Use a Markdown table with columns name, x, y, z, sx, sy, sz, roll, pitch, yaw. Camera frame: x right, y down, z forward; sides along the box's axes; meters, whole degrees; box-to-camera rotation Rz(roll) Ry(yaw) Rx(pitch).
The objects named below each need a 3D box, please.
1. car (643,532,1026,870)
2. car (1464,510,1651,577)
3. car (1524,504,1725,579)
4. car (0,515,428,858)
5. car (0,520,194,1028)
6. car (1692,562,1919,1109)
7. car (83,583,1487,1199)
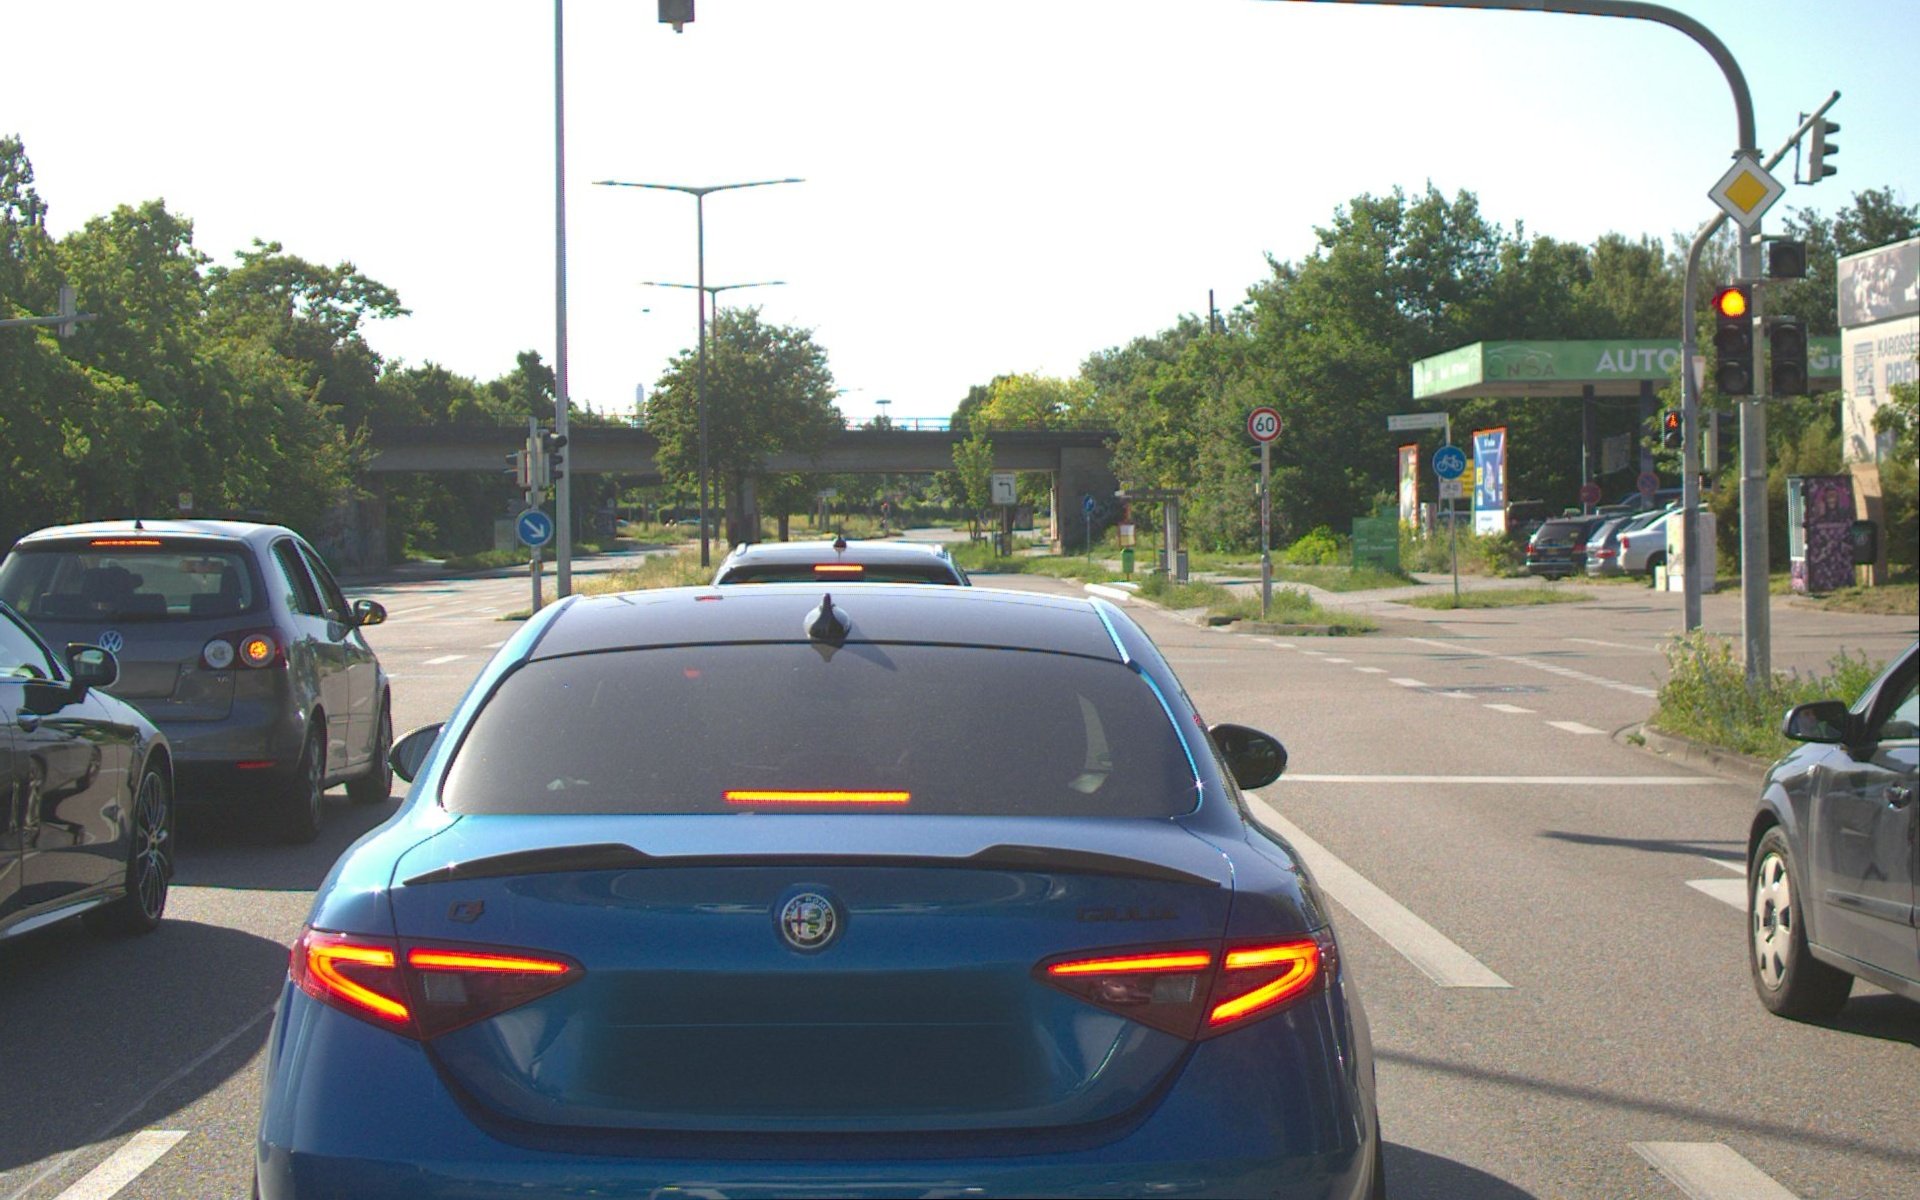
| name | x | y | z | sx | sy | sz | roll | pitch | yaw |
| --- | --- | --- | --- | --- | --- | --- | --- | --- | --- |
| car | -0.529 | 0.438 | 17.304 | 1.704 | 1.492 | 3.719 | 1 | 0 | 1 |
| car | 14.530 | -1.376 | 83.604 | 3.986 | 1.547 | 2.001 | 1 | 0 | -18 |
| car | 14.488 | -1.270 | 75.122 | 3.987 | 1.547 | 2.000 | 1 | 0 | 1 |
| car | -3.948 | 0.374 | 17.858 | 1.812 | 1.546 | 4.354 | 1 | 0 | -2 |
| car | -3.839 | 0.512 | 11.078 | 1.812 | 1.546 | 4.544 | 0 | 1 | -1 |
| car | 3.416 | 0.636 | 9.599 | 1.734 | 1.437 | 4.372 | 1 | 1 | -1 |
| car | -0.212 | 0.698 | 6.556 | 1.910 | 1.418 | 3.719 | 1 | 0 | 1 |
